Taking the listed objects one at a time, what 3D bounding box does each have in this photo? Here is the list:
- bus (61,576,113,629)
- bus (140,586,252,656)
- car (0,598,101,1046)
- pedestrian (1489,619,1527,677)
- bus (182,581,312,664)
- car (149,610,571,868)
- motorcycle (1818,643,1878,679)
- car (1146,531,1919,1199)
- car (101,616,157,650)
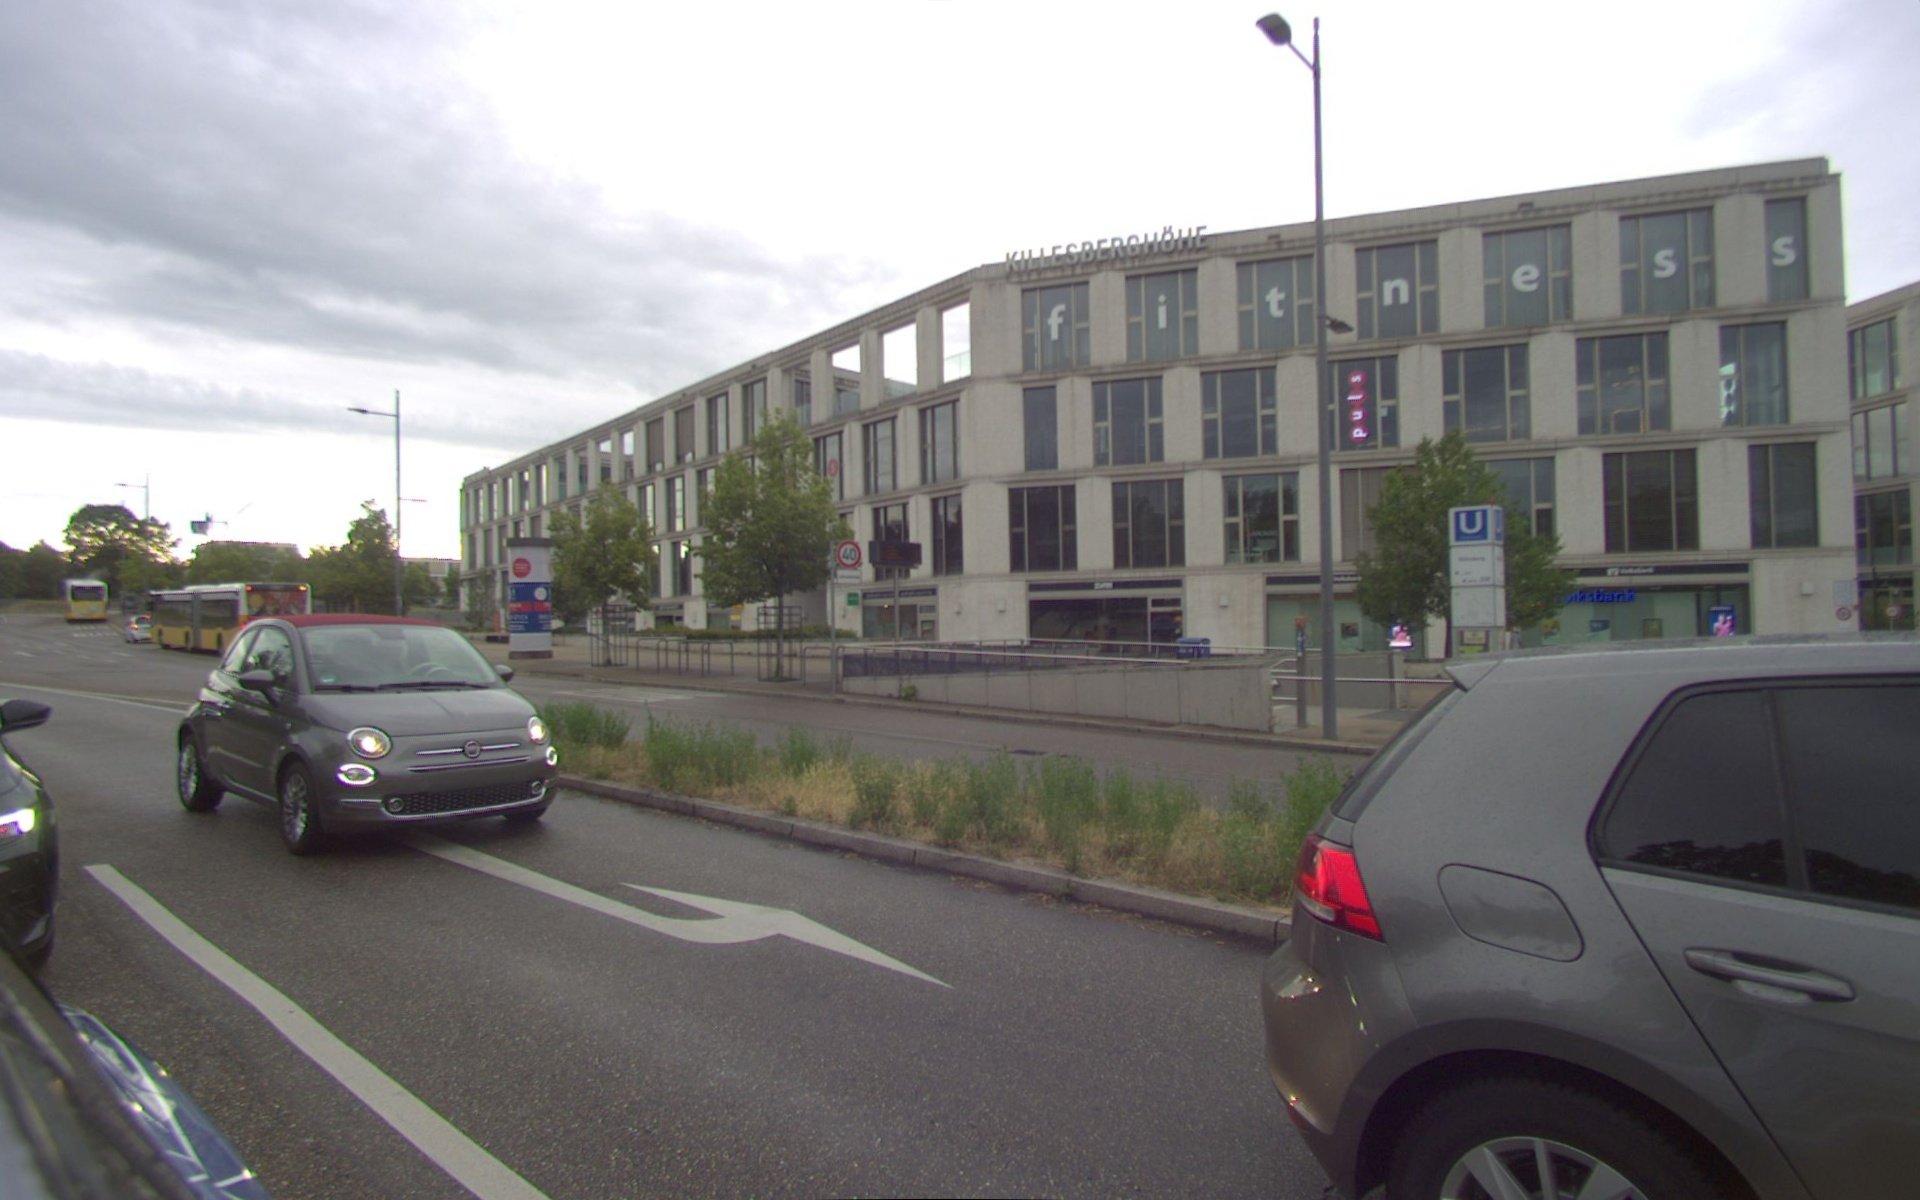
[{"bbox_3d":[-76.540,0.261,88.998,2.717,4.185,19.383,-1,0,-39],"label":"bus"},{"bbox_3d":[-38.162,0.984,50.391,9.911,3.205,2.658,-1,0,42],"label":"bus"},{"bbox_3d":[-5.410,0.763,4.404,4.766,1.476,1.877,-1,0,41],"label":"car"},{"bbox_3d":[15.616,1.357,28.833,0.912,1.617,0.756,-1,-2,32],"label":"pedestrian"},{"bbox_3d":[-31.136,0.915,43.983,9.206,3.236,2.723,-1,0,43],"label":"bus"},{"bbox_3d":[-4.612,0.841,7.620,3.502,1.492,1.611,-1,-1,39],"label":"car"},{"bbox_3d":[20.419,1.399,23.289,0.517,0.746,1.098,-1,0,9],"label":"motorcycle"},{"bbox_3d":[2.634,0.650,1.441,4.374,1.492,1.797,-1,-2,41],"label":"car"},{"bbox_3d":[-47.141,1.829,57.367,3.998,1.800,1.843,-1,0,41],"label":"car"}]
